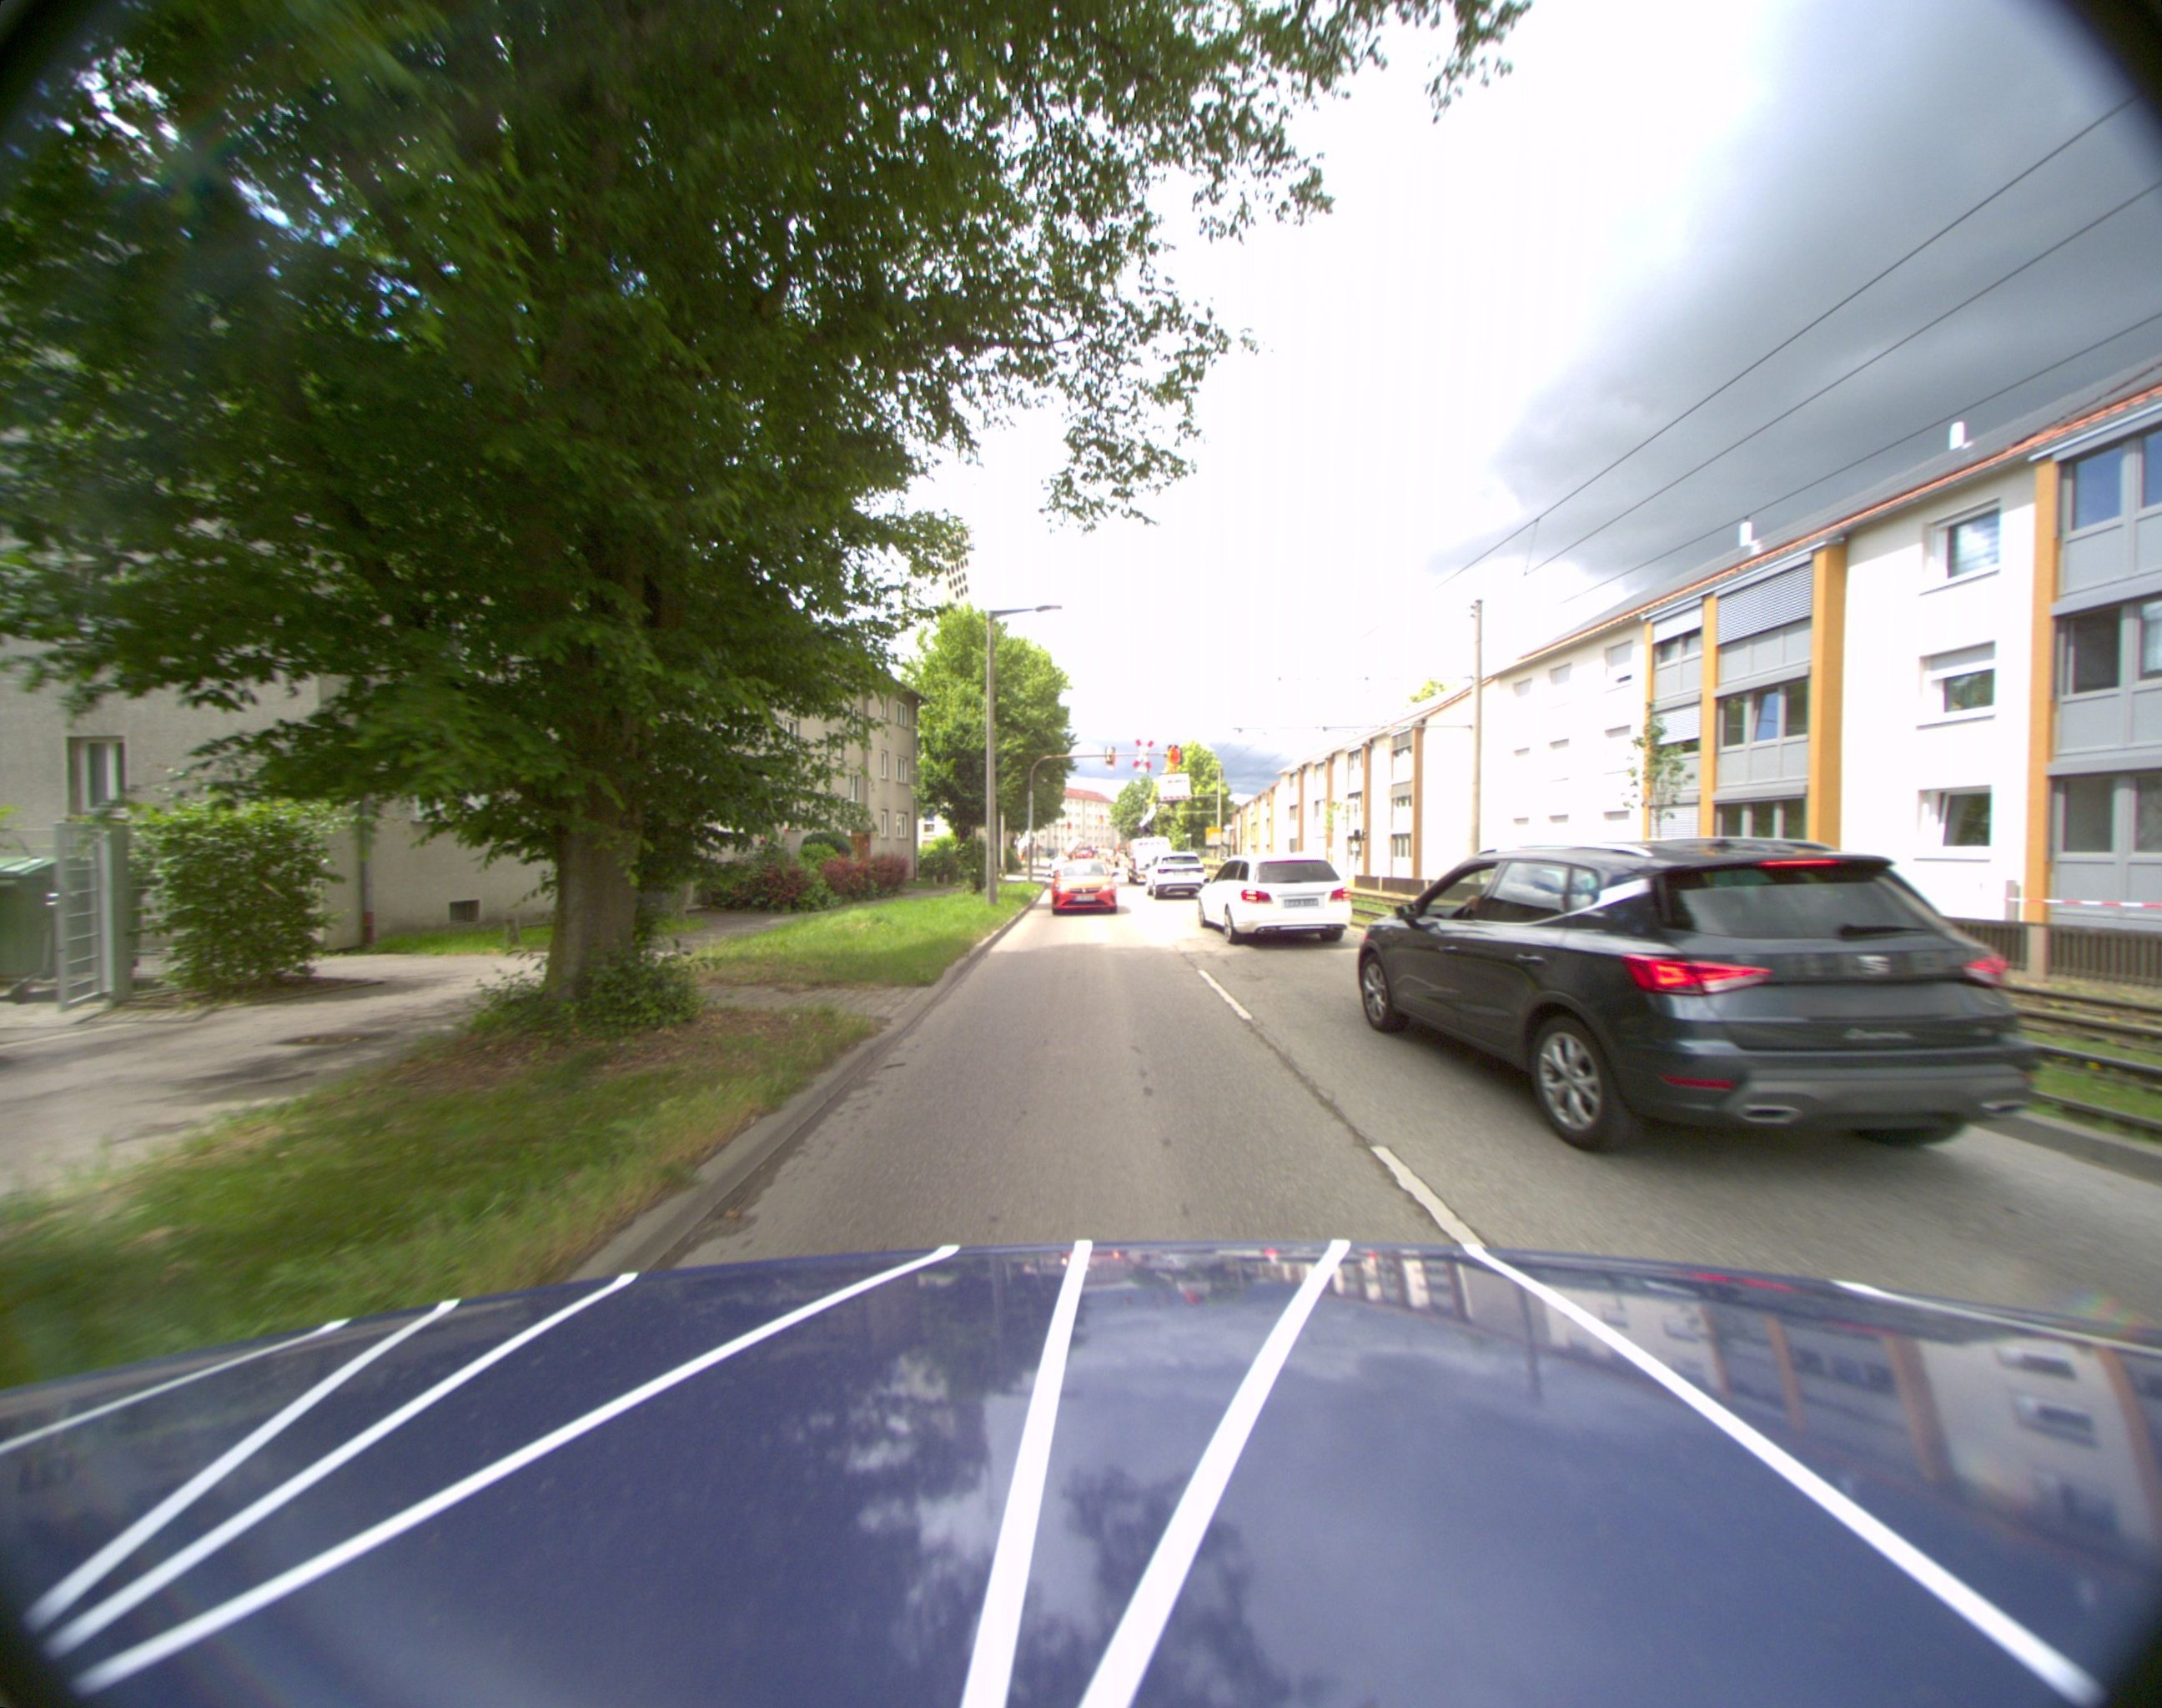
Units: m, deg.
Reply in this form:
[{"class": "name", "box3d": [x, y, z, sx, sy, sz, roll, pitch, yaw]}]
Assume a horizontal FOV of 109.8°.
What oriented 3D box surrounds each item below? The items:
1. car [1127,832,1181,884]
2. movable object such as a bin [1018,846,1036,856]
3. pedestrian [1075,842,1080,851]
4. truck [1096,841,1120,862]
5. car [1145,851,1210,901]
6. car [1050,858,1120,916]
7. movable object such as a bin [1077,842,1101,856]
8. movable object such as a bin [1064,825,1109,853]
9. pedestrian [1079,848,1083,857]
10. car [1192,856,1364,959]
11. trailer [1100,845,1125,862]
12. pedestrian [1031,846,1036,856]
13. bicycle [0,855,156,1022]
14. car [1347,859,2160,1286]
[{"class": "car", "box3d": [3.599, 0.183, 38.662, 1.999, 2.416, 6.321, -1, 0, -1]}, {"class": "movable object such as a bin", "box3d": [-10.540, -0.625, 148.014, 2.959, 2.002, 2.004, 1, 1, 35]}, {"class": "pedestrian", "box3d": [-0.728, -1.616, 158.089, 0.882, 1.897, 0.665, -1, 2, -34]}, {"class": "truck", "box3d": [3.663, -0.293, 104.667, 2.669, 2.709, 6.393, -1, 0, -3]}, {"class": "car", "box3d": [3.281, 0.701, 26.409, 1.722, 1.543, 3.917, -1, 1, 0]}, {"class": "car", "box3d": [0.108, 0.883, 21.900, 1.769, 1.425, 3.838, -2, 0, 0]}, {"class": "movable object such as a bin", "box3d": [1.574, -1.014, 146.132, 2.110, 2.653, 5.598, 1, 2, 31]}, {"class": "movable object such as a bin", "box3d": [1.094, -2.947, 151.591, 9.054, 5.453, 2.813, 1, 0, -36]}, {"class": "pedestrian", "box3d": [0.024, -0.297, 147.426, 0.611, 1.778, 0.583, -1, 0, 29]}, {"class": "car", "box3d": [3.300, 0.807, 13.692, 1.884, 1.472, 4.528, -2, 0, 0]}, {"class": "trailer", "box3d": [3.981, -0.054, 98.372, 2.669, 2.201, 6.246, -1, 0, -3]}, {"class": "pedestrian", "box3d": [-9.206, -0.540, 147.597, 0.767, 1.828, 0.785, 1, 1, 23]}, {"class": "bicycle", "box3d": [-10.690, 0.793, 7.685, 1.350, 1.565, 1.072, 0, 1, 3]}, {"class": "car", "box3d": [3.176, 0.826, 4.750, 1.654, 1.511, 3.865, -1, 0, 0]}]
